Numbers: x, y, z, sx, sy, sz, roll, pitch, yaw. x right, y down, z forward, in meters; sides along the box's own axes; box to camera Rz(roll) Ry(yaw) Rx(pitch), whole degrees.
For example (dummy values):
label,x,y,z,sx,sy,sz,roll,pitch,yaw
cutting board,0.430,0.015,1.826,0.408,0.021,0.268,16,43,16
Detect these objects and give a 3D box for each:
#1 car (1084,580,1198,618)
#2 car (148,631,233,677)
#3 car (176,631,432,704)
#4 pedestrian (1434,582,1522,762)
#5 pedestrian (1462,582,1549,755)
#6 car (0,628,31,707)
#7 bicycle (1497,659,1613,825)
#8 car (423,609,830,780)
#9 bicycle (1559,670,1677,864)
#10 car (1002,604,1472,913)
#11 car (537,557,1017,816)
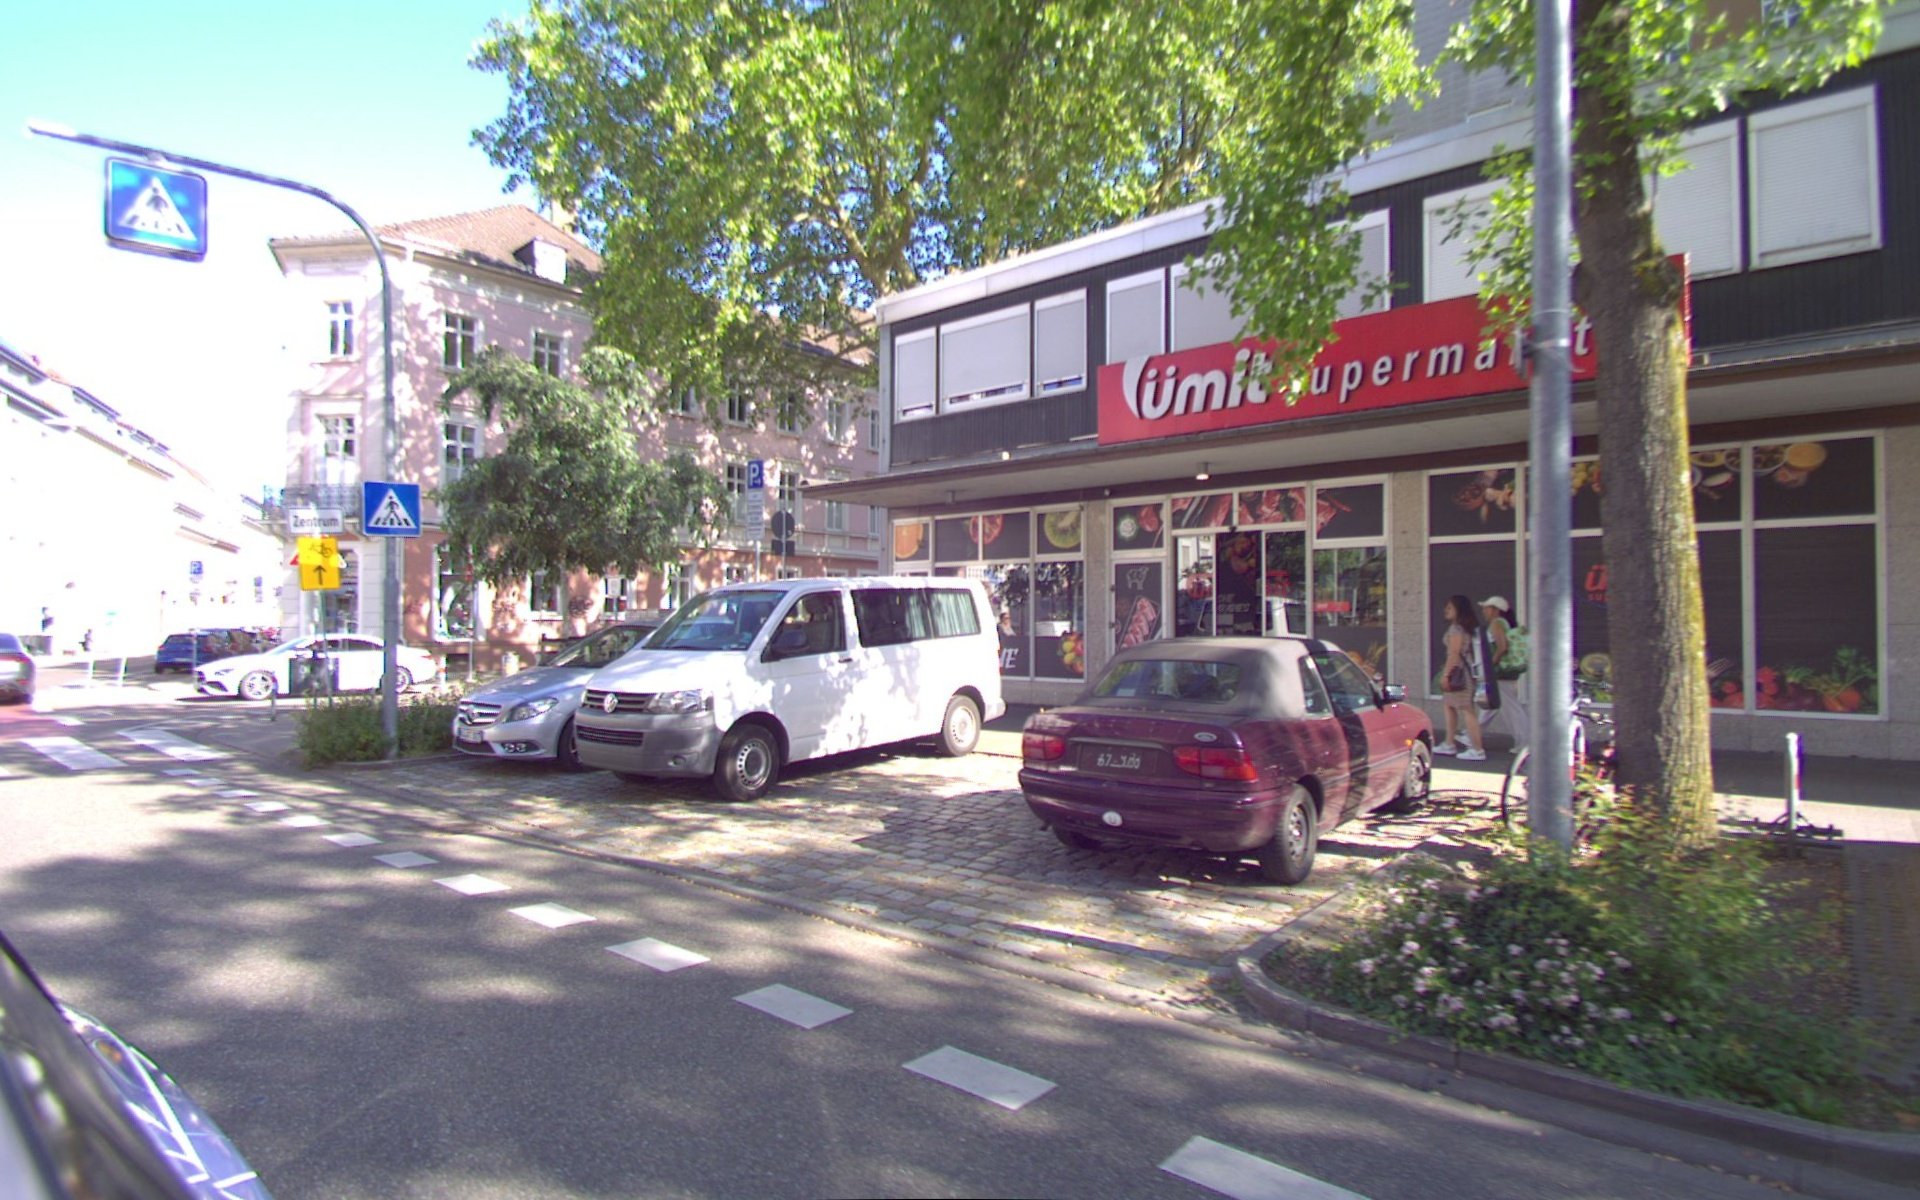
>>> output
label,x,y,z,sx,sy,sz,roll,pitch,yaw
car,7.446,-0.021,41.854,4.408,1.474,1.581,-1,-1,35
car,-27.243,1.889,35.943,1.677,1.444,3.651,3,-2,-27
car,-14.668,1.480,22.837,1.862,1.468,4.499,-4,-4,41
pedestrian,5.029,0.681,9.822,0.633,1.664,0.524,-2,-3,41
pedestrian,5.508,0.672,10.221,0.633,1.664,0.623,-2,-3,41
car,-20.070,1.308,20.260,4.578,1.465,1.888,-1,-2,44
bicycle,4.333,0.980,7.344,0.454,1.076,1.195,-2,-3,43
car,-3.668,0.944,11.806,1.757,1.625,4.247,-1,-2,40
bicycle,4.177,1.001,6.399,0.399,1.076,1.140,-2,-3,44
car,2.190,0.815,7.162,1.716,1.505,3.990,-1,0,40
car,-1.581,0.665,10.330,1.957,2.021,4.684,-1,0,38
